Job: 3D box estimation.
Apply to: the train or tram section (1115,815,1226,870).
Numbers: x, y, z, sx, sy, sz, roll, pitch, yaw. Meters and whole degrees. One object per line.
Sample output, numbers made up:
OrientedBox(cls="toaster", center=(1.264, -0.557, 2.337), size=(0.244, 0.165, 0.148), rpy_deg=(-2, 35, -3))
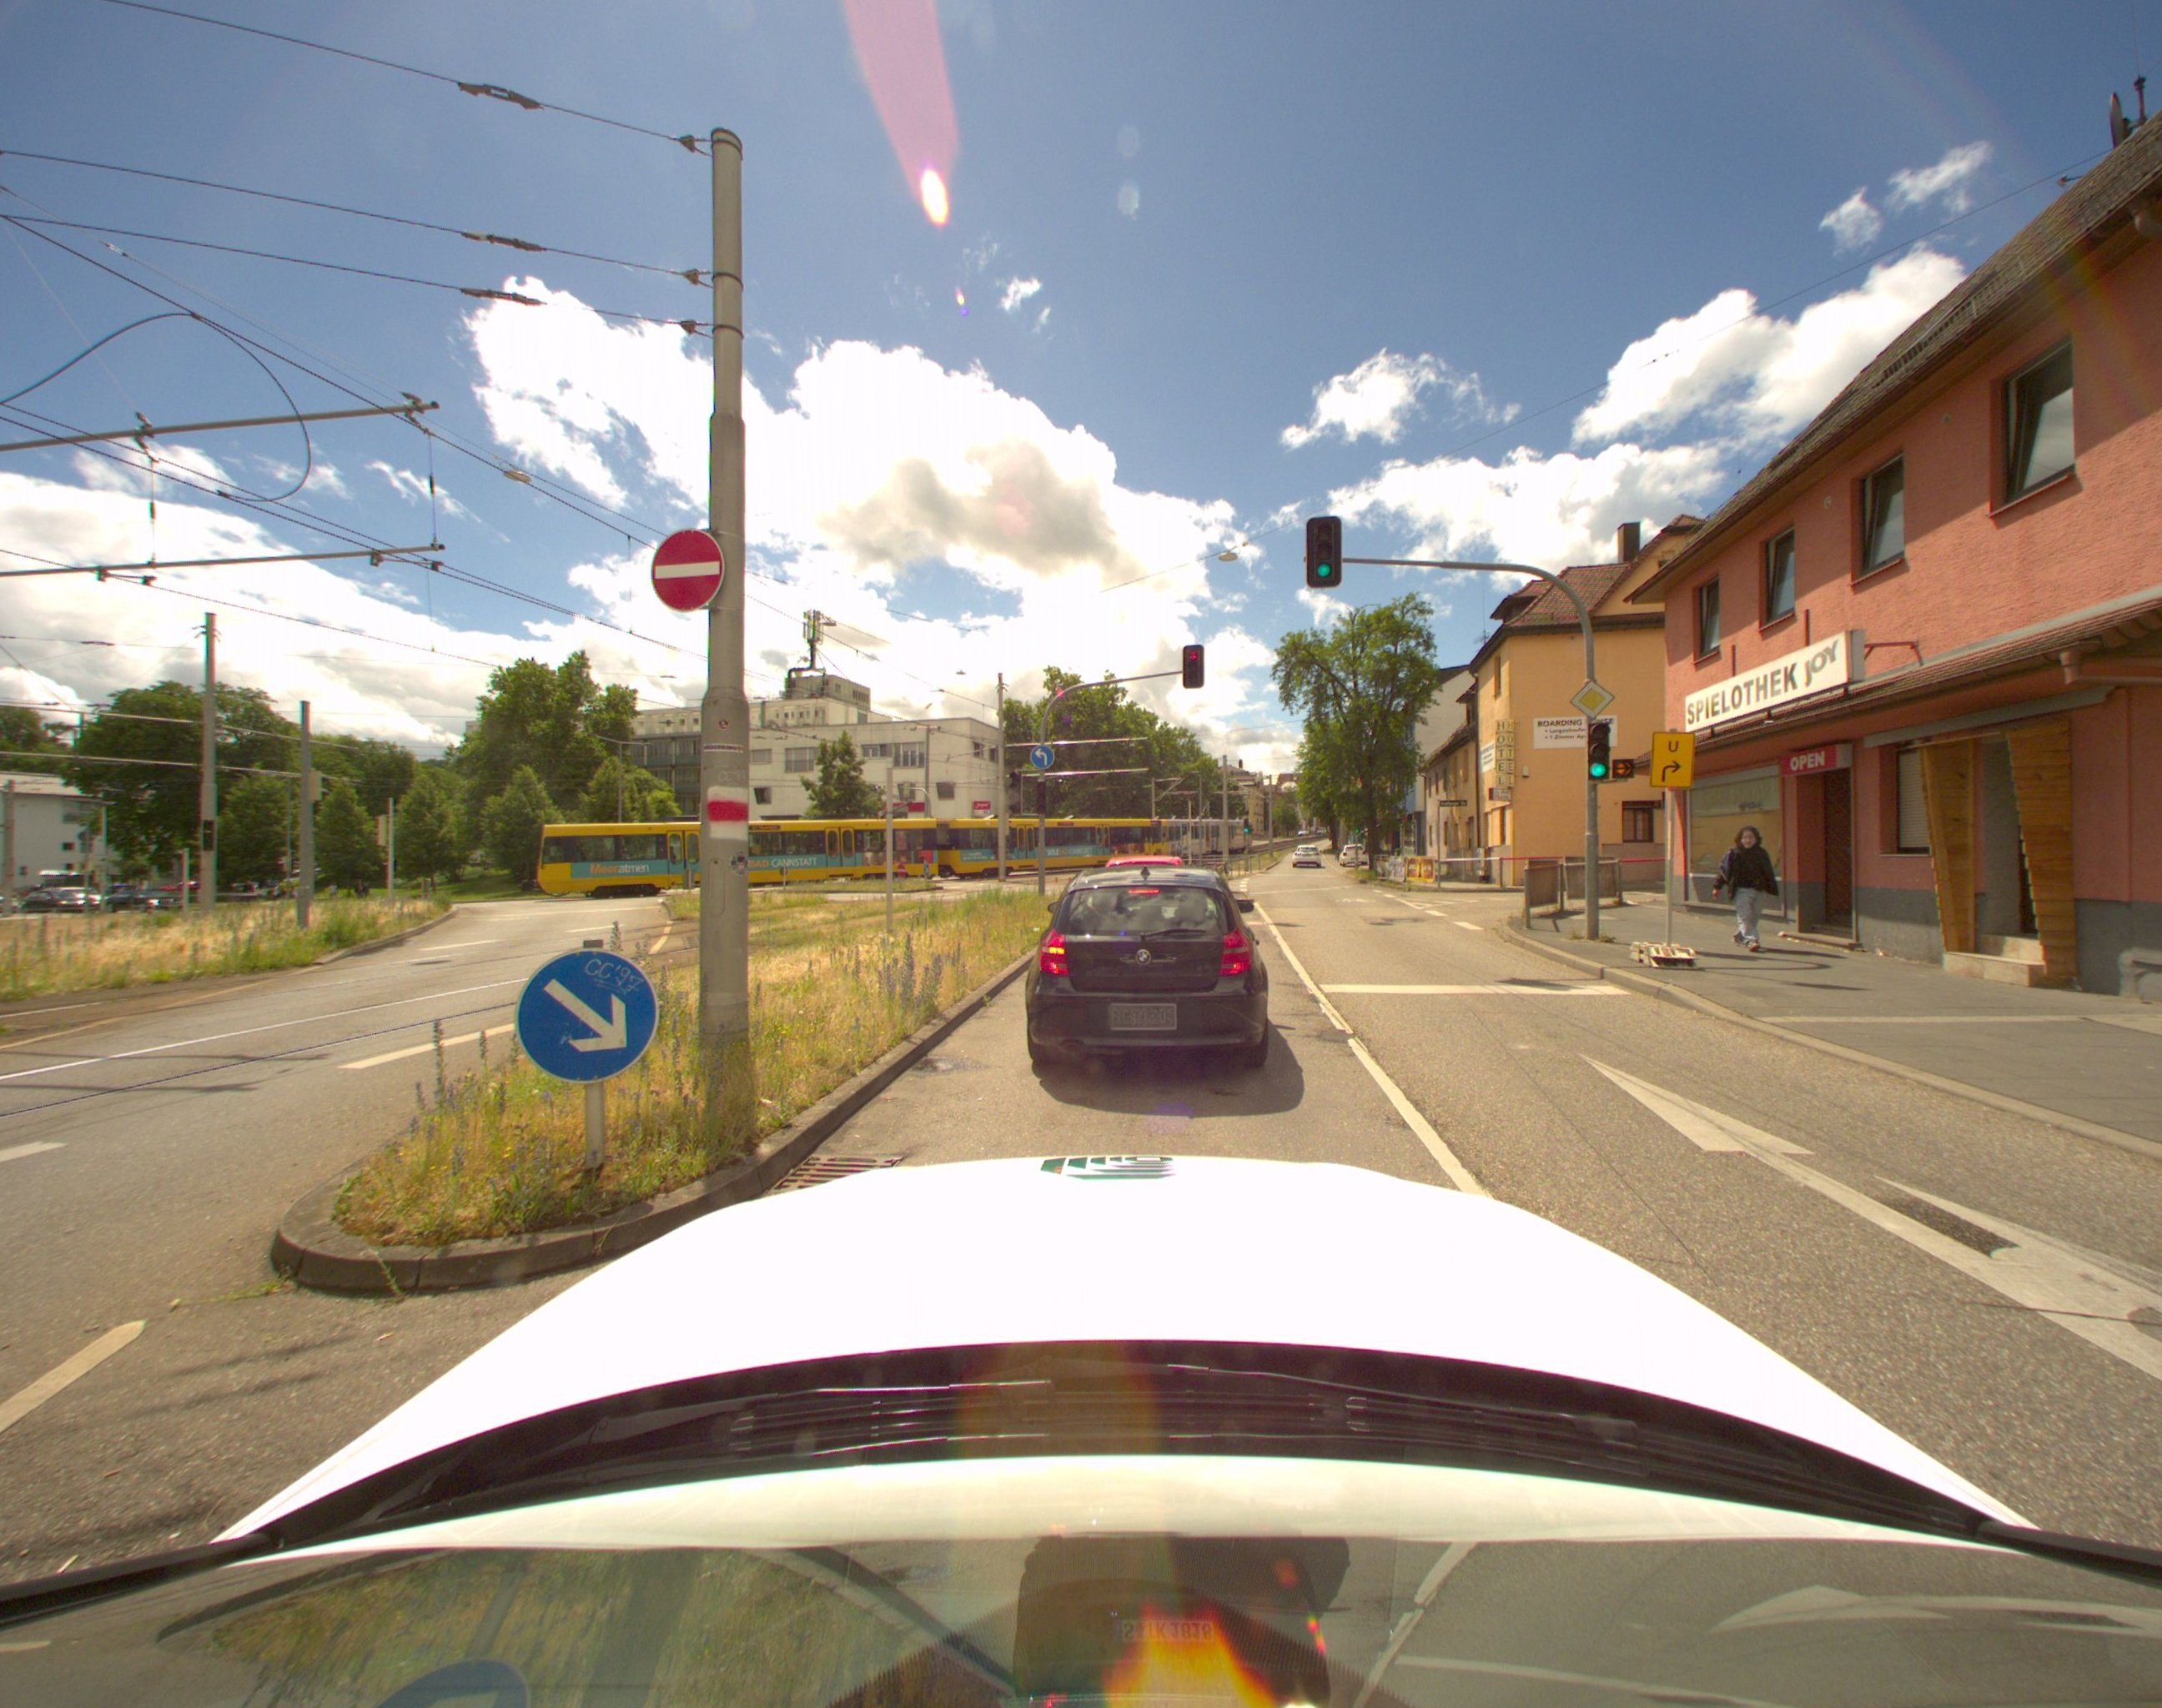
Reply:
OrientedBox(cls="train or tram section", center=(8.243, -0.868, 69.481), size=(3.716, 3.879, 20.747), rpy_deg=(-2, -1, 22))

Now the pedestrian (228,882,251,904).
OrientedBox(cls="pedestrian", center=(-62.680, 2.920, 60.688), size=(0.808, 1.576, 0.844), rpy_deg=(-1, 0, 8))

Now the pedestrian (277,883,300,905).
OrientedBox(cls="pedestrian", center=(-58.329, 2.919, 59.929), size=(0.808, 1.576, 0.844), rpy_deg=(-1, 0, 8))

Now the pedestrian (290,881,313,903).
OrientedBox(cls="pedestrian", center=(-58.072, 2.827, 60.672), size=(0.808, 1.576, 0.844), rpy_deg=(-1, 0, 8))

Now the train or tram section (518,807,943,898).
OrientedBox(cls="train or tram section", center=(-16.692, -0.250, 41.171), size=(18.943, 3.919, 3.727), rpy_deg=(-2, -1, -28))

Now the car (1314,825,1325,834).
OrientedBox(cls="car", center=(60.440, -6.155, 206.076), size=(1.975, 2.014, 4.023), rpy_deg=(-2, -1, 24))

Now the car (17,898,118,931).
OrientedBox(cls="car", center=(-57.475, 3.442, 46.210), size=(4.211, 1.651, 1.926), rpy_deg=(-2, -1, 13))

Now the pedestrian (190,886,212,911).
OrientedBox(cls="pedestrian", center=(-69.226, 3.507, 64.066), size=(0.811, 1.866, 0.836), rpy_deg=(-2, 0, 16))

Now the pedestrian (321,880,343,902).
OrientedBox(cls="pedestrian", center=(-55.569, 2.729, 60.404), size=(0.808, 1.576, 0.844), rpy_deg=(-1, 0, 8))

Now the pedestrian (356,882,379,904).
OrientedBox(cls="pedestrian", center=(-52.107, 2.861, 59.478), size=(0.808, 1.576, 0.844), rpy_deg=(-1, 0, 8))

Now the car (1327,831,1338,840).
OrientedBox(cls="car", center=(43.139, -3.134, 139.606), size=(1.801, 1.468, 4.018), rpy_deg=(1, 1, 17))

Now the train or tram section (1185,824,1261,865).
OrientedBox(cls="train or tram section", center=(15.759, -0.972, 87.940), size=(3.716, 3.814, 20.159), rpy_deg=(-2, -1, 22))

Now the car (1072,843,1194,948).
OrientedBox(cls="car", center=(1.016, 0.625, 13.773), size=(1.615, 1.473, 4.010), rpy_deg=(-2, -1, 9))

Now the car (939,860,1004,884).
OrientedBox(cls="car", center=(-7.814, 1.292, 58.294), size=(4.192, 1.585, 1.836), rpy_deg=(-1, -1, -41))

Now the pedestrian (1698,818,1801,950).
OrientedBox(cls="pedestrian", center=(8.736, 0.375, 10.681), size=(0.758, 1.642, 0.781), rpy_deg=(-2, 1, 14))

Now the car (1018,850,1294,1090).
OrientedBox(cls="car", center=(0.491, 0.752, 7.141), size=(1.695, 1.452, 4.000), rpy_deg=(-2, -1, 0))

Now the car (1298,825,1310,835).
OrientedBox(cls="car", center=(51.155, -5.458, 187.094), size=(1.975, 2.014, 4.023), rpy_deg=(-2, -1, 24))

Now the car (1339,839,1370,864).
OrientedBox(cls="car", center=(18.858, -0.156, 56.224), size=(1.773, 1.596, 4.017), rpy_deg=(-2, -1, 16))

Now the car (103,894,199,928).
OrientedBox(cls="car", center=(-55.790, 3.410, 48.889), size=(4.195, 1.791, 2.030), rpy_deg=(-2, -1, 13))

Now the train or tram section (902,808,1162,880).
OrientedBox(cls="train or tram section", center=(-2.148, -0.653, 52.757), size=(3.713, 3.829, 20.275), rpy_deg=(-3, -1, 40))

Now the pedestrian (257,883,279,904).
OrientedBox(cls="pedestrian", center=(-62.406, 3.039, 62.492), size=(0.808, 1.576, 0.844), rpy_deg=(-1, 0, 8))

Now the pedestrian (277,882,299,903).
OrientedBox(cls="pedestrian", center=(-59.754, 2.897, 61.353), size=(0.808, 1.576, 0.844), rpy_deg=(-1, 0, 8))

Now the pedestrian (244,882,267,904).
OrientedBox(cls="pedestrian", center=(-62.508, 2.924, 61.648), size=(0.808, 1.576, 0.844), rpy_deg=(-1, 0, 8))

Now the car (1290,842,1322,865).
OrientedBox(cls="car", center=(14.989, -0.049, 54.395), size=(1.803, 1.468, 4.014), rpy_deg=(1, 1, 13))

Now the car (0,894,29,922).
OrientedBox(cls="car", center=(-64.148, 3.191, 47.349), size=(4.446, 1.555, 1.946), rpy_deg=(-2, -1, 13))

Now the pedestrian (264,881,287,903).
OrientedBox(cls="pedestrian", center=(-59.857, 2.840, 60.492), size=(0.808, 1.576, 0.844), rpy_deg=(-1, 0, 8))
